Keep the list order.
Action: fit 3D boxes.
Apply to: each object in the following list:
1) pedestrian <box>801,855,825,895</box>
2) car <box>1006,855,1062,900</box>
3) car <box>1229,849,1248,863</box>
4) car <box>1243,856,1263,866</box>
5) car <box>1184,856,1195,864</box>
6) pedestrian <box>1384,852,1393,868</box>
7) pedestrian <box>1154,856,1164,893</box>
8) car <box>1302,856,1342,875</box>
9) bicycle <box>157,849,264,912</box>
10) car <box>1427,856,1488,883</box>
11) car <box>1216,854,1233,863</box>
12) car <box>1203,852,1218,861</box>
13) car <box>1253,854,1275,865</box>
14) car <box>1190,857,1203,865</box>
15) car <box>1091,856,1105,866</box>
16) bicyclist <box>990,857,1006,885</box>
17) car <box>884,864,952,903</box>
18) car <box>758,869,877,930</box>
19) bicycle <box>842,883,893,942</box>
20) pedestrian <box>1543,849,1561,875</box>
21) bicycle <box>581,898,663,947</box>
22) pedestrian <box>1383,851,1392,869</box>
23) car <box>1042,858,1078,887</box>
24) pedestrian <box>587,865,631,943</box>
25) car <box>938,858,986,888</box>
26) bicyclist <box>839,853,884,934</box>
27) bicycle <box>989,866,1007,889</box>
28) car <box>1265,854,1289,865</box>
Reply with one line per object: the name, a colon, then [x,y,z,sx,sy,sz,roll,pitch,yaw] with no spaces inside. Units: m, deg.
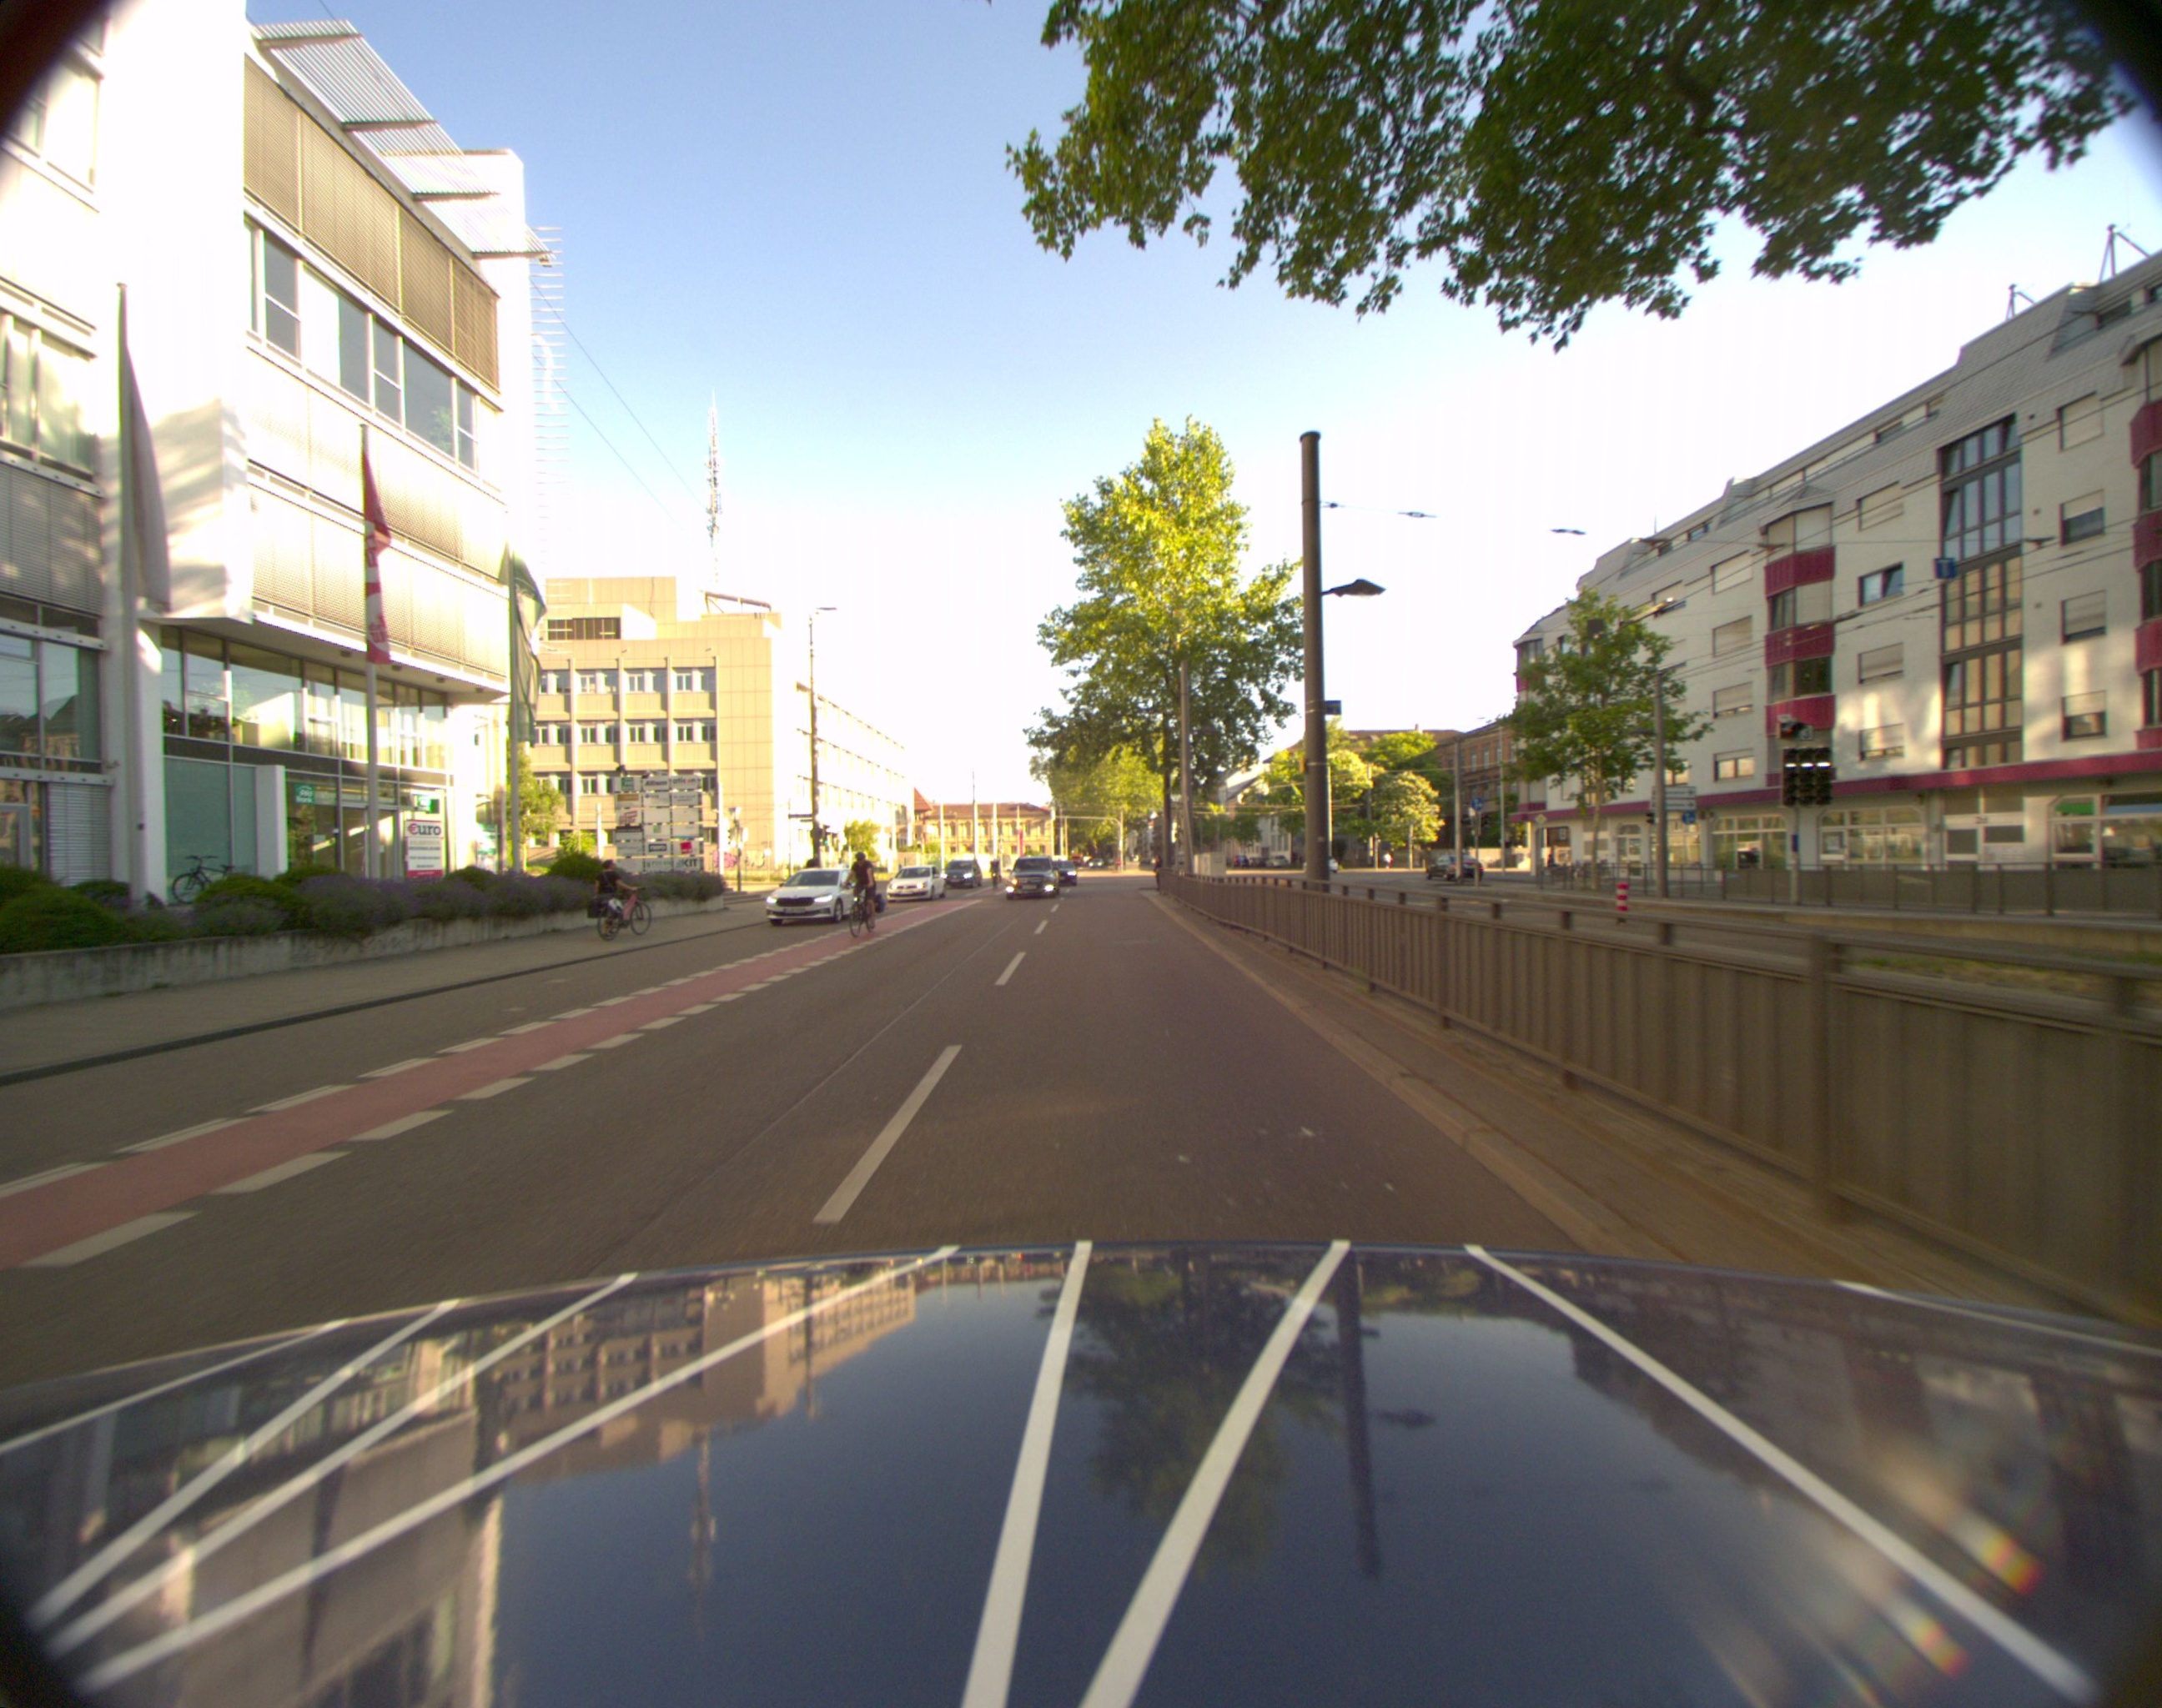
pedestrian: [-10.824,0.847,30.733,0.693,1.573,0.664,2,1,2]
car: [-1.744,0.843,29.544,1.785,1.628,4.022,0,0,2]
car: [22.591,0.241,109.052,1.862,1.827,3.913,-2,1,0]
car: [23.373,0.938,103.293,1.895,1.259,4.000,-1,0,1]
car: [23.046,1.219,161.469,1.895,1.552,4.000,-1,0,1]
pedestrian: [28.867,0.572,71.392,0.589,1.498,0.650,0,1,42]
pedestrian: [3.318,0.872,32.311,0.389,1.558,0.336,-1,1,6]
car: [19.517,0.891,61.777,1.998,1.455,4.000,-1,0,1]
bicycle: [-20.376,0.611,17.784,2.425,1.419,0.758,-1,1,19]
car: [20.268,0.818,41.075,1.649,1.346,3.902,-1,0,5]
car: [22.608,0.683,119.958,1.895,1.259,4.000,-1,0,1]
car: [22.469,0.411,131.941,1.895,1.470,4.000,-1,0,1]
car: [23.426,0.705,97.437,1.895,1.259,4.000,-1,0,1]
car: [22.821,1.439,149.949,1.895,1.552,4.000,-1,0,1]
car: [2.576,1.026,114.862,1.827,1.416,4.345,-2,0,-1]
bicyclist: [-4.220,0.861,38.651,0.685,1.372,0.867,-1,1,1]
car: [-6.563,1.160,30.979,1.671,1.455,3.870,0,0,4]
car: [-7.008,1.162,20.650,1.785,1.411,4.021,0,0,1]
bicycle: [-4.564,1.223,16.369,0.551,1.114,2.126,0,0,-2]
pedestrian: [29.537,0.506,47.690,0.668,1.614,0.800,-2,1,10]
bicycle: [-9.597,1.408,15.971,0.499,0.841,1.903,3,0,2]
pedestrian: [28.821,0.578,71.394,0.602,1.694,0.670,-1,2,40]
car: [-1.124,0.967,41.862,1.827,1.416,4.345,-2,0,-1]
pedestrian: [-9.941,1.038,16.016,0.527,1.573,0.589,2,1,2]
car: [-6.653,1.048,42.930,1.998,1.586,4.000,-1,0,1]
bicyclist: [-4.654,0.828,16.170,0.752,1.678,0.714,0,0,-2]
bicycle: [-4.218,1.184,38.678,0.666,1.118,1.874,-1,0,1]
car: [23.401,0.696,90.788,1.895,1.259,4.000,-1,0,1]
